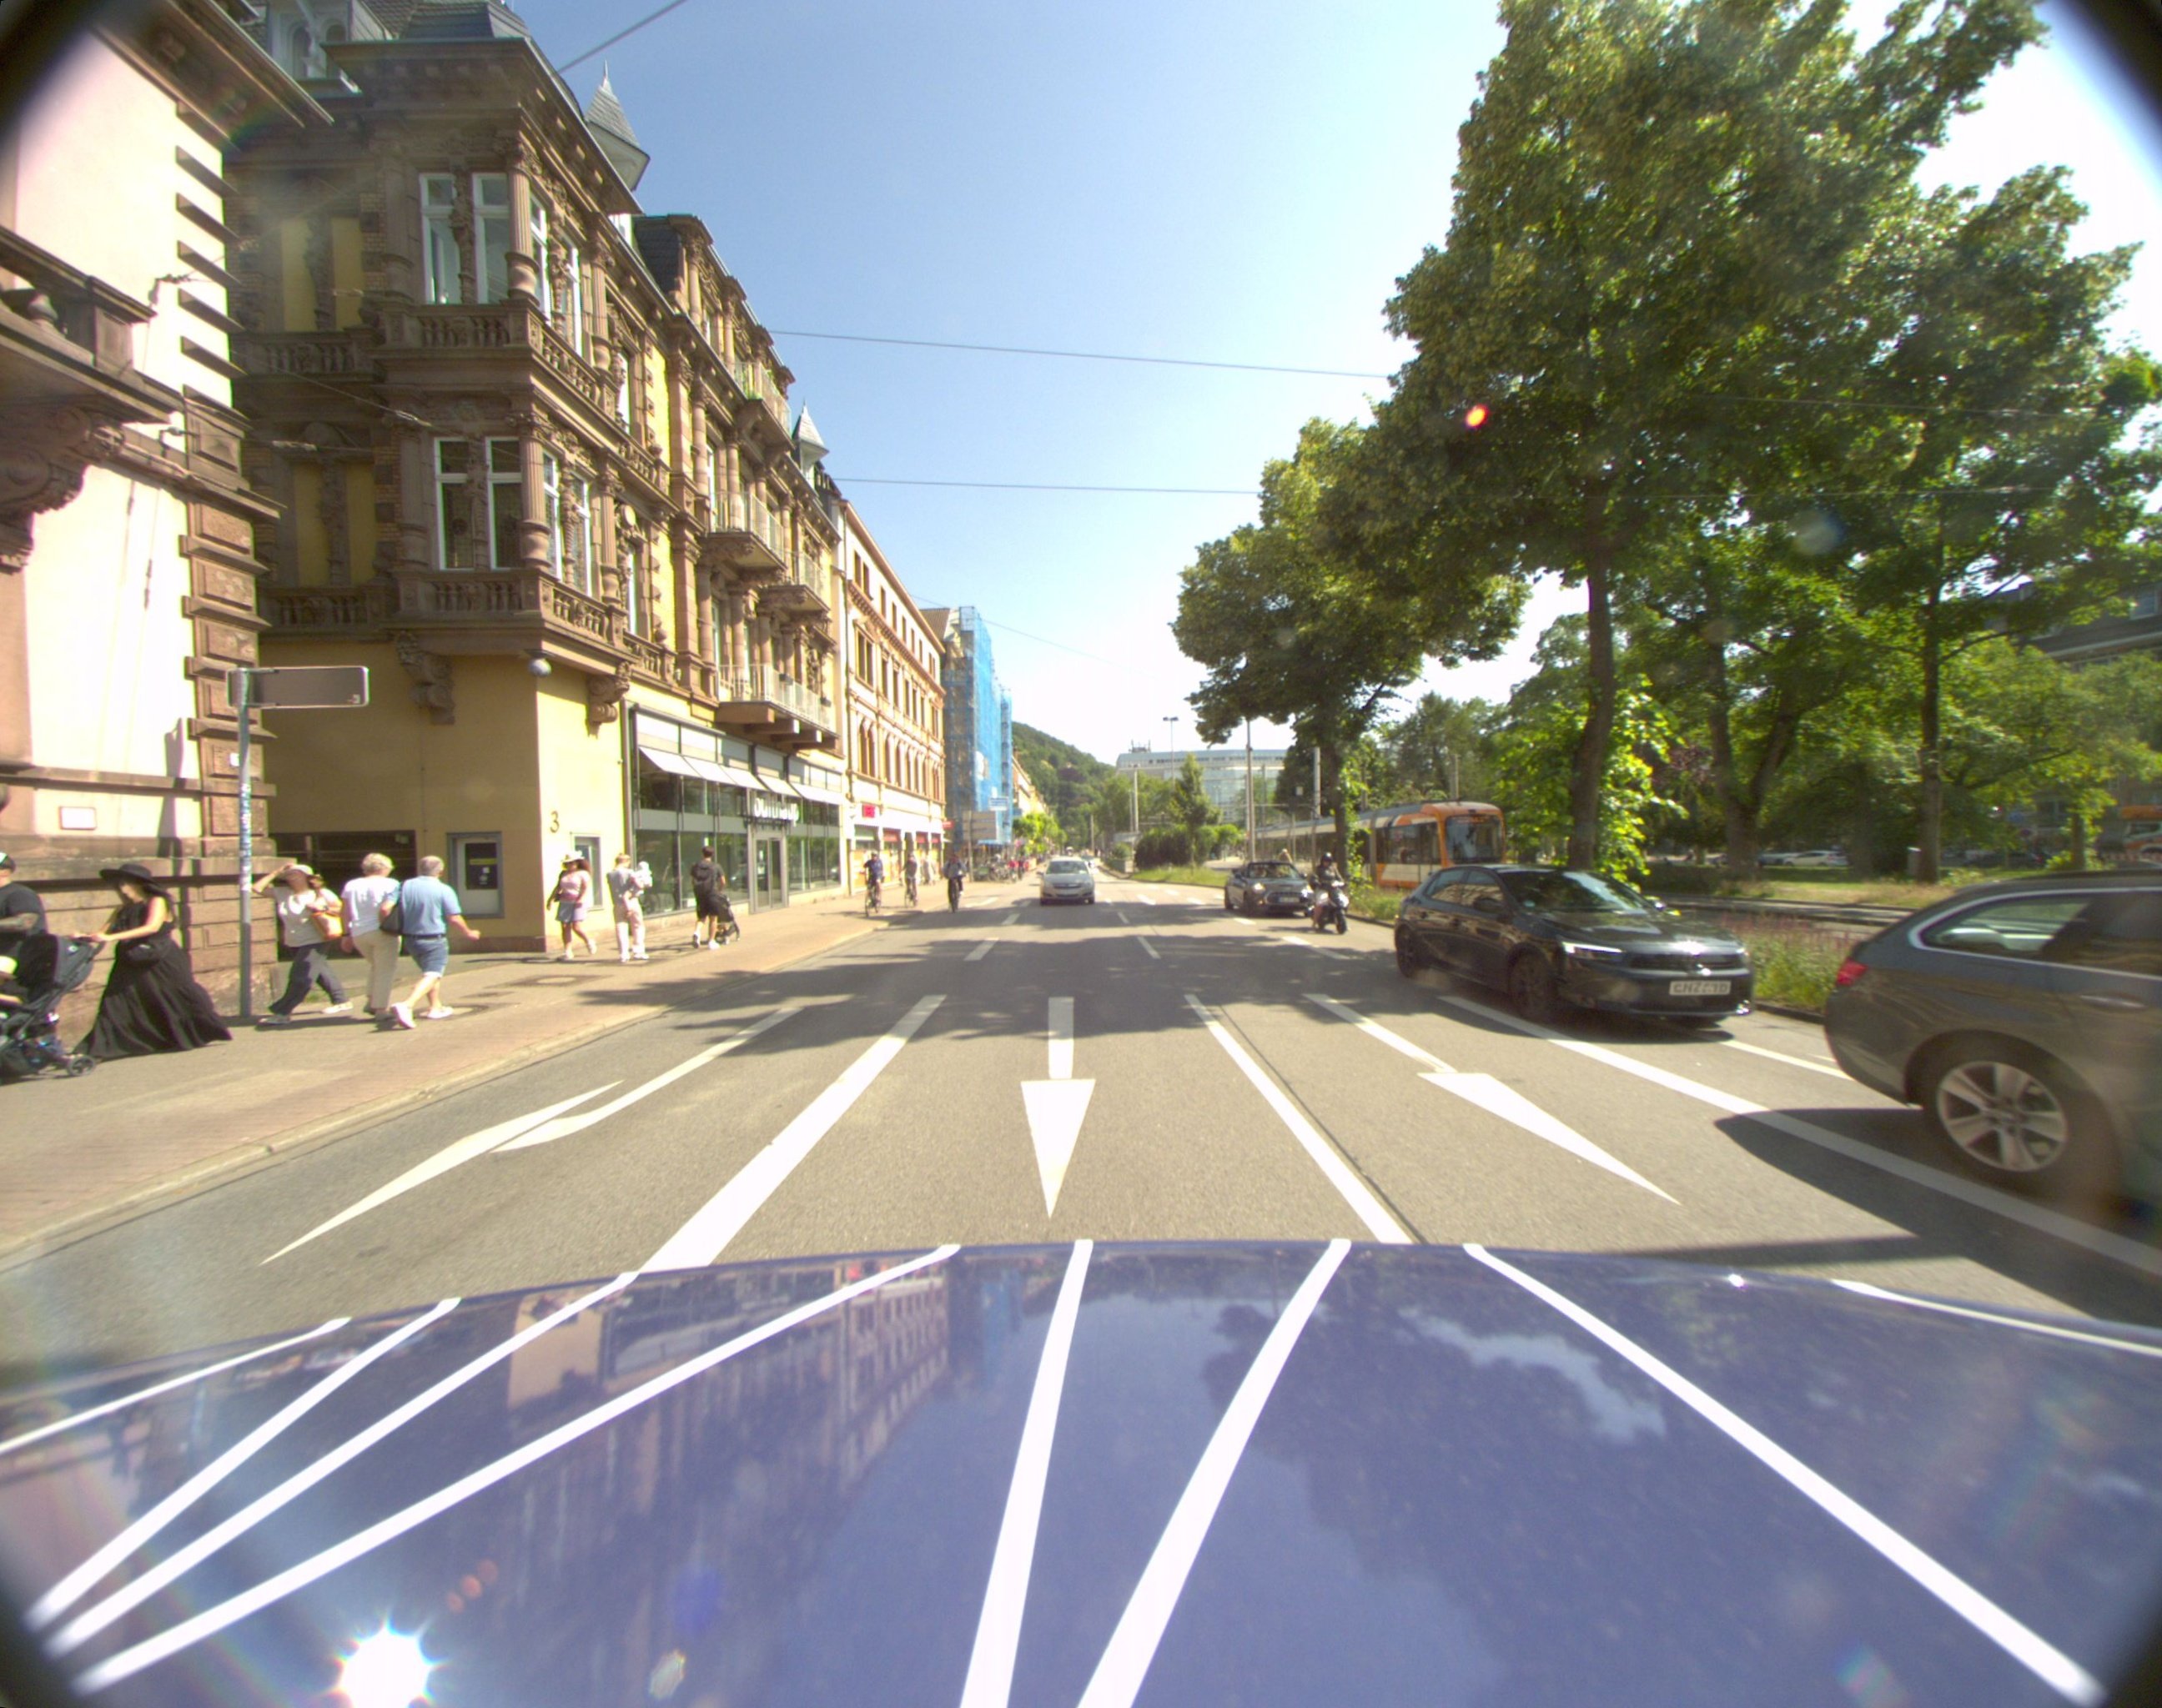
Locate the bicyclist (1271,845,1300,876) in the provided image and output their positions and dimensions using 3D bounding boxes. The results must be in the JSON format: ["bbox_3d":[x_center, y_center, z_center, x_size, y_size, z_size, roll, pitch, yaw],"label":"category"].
[{"bbox_3d":[9.225,0.277,34.339,0.912,1.385,1.232,-1,1,-2],"label":"bicyclist"}]

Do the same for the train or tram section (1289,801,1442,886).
[{"bbox_3d":[13.269,-0.462,37.104,2.767,3.384,12.410,-1,0,0],"label":"train or tram section"}]

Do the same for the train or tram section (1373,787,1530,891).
[{"bbox_3d":[13.291,-0.510,27.892,2.767,3.384,5.885,-1,1,-2],"label":"train or tram section"}]

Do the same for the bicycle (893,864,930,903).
[{"bbox_3d":[-5.284,0.895,23.779,0.643,1.076,2.496,-1,0,-2],"label":"bicycle"}]

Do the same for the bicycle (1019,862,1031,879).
[{"bbox_3d":[-3.749,1.097,50.834,0.643,1.076,2.496,-1,0,-2],"label":"bicycle"}]

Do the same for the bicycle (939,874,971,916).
[{"bbox_3d":[-3.732,1.192,22.680,0.643,1.076,2.495,-1,0,-2],"label":"bicycle"}]

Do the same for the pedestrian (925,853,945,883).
[{"bbox_3d":[-8.012,0.738,41.795,0.912,1.591,1.232,-1,1,-3],"label":"pedestrian"}]

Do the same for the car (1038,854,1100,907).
[{"bbox_3d":[-0.395,0.792,25.206,1.802,1.492,4.496,-3,0,-1],"label":"car"}]

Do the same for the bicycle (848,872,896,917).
[{"bbox_3d":[-5.695,1.085,20.846,0.643,1.076,2.496,-1,0,-2],"label":"bicycle"}]

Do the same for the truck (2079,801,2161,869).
[{"bbox_3d":[68.569,-1.192,44.665,3.632,4.238,11.804,-1,0,-7],"label":"truck"}]

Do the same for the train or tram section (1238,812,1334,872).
[{"bbox_3d":[13.017,-0.712,49.621,2.767,3.384,12.409,-1,0,-1],"label":"train or tram section"}]

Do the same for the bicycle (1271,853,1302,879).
[{"bbox_3d":[9.230,0.537,34.288,0.643,1.077,2.495,-2,1,-1],"label":"bicycle"}]

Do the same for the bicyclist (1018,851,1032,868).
[{"bbox_3d":[-3.755,0.354,50.969,0.912,1.077,1.232,-1,1,-2],"label":"bicyclist"}]

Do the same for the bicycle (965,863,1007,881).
[{"bbox_3d":[-5.825,1.102,46.721,2.494,1.077,0.644,-1,1,3],"label":"bicycle"}]

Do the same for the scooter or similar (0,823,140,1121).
[{"bbox_3d":[-7.642,0.799,5.312,0.694,2.002,1.095,-1,1,-2],"label":"scooter or similar"}]

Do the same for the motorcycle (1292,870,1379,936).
[{"bbox_3d":[5.075,0.944,15.340,0.903,1.156,2.352,-1,1,-2],"label":"motorcycle"}]

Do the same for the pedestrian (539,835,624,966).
[{"bbox_3d":[-7.957,0.719,12.137,0.814,2.002,0.815,1,1,-2],"label":"pedestrian"}]

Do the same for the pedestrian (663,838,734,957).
[{"bbox_3d":[-6.610,0.731,13.179,0.814,2.002,0.815,0,1,-2],"label":"pedestrian"}]

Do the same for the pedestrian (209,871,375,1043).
[{"bbox_3d":[-7.866,0.990,7.619,0.814,1.593,0.815,1,1,-2],"label":"pedestrian"}]

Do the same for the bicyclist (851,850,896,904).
[{"bbox_3d":[-5.695,0.599,20.910,0.912,1.428,1.232,-1,1,-2],"label":"bicyclist"}]

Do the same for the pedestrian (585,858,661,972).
[{"bbox_3d":[-7.036,0.912,11.699,0.707,1.685,0.628,-1,2,2],"label":"pedestrian"}]

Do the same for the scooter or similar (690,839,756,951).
[{"bbox_3d":[-6.662,0.725,14.185,0.694,2.002,1.095,-1,1,-2],"label":"scooter or similar"}]

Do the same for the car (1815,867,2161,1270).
[{"bbox_3d":[4.944,0.830,1.835,1.752,1.477,4.747,0,0,0],"label":"car"}]

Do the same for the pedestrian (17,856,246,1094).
[{"bbox_3d":[-7.602,0.916,6.136,0.814,1.783,0.815,1,1,-2],"label":"pedestrian"}]

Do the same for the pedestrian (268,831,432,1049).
[{"bbox_3d":[-7.103,0.797,7.430,0.814,2.002,0.815,1,1,-2],"label":"pedestrian"}]

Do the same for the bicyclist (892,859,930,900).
[{"bbox_3d":[-5.283,0.778,23.730,0.912,1.227,1.232,-1,1,-2],"label":"bicyclist"}]

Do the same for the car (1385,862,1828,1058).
[{"bbox_3d":[4.847,0.839,7.850,1.797,1.403,3.999,-1,1,0],"label":"car"}]

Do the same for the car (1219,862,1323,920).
[{"bbox_3d":[4.881,0.899,20.010,1.637,1.301,3.913,1,0,-2],"label":"car"}]

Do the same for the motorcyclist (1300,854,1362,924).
[{"bbox_3d":[5.040,0.691,15.379,0.903,1.351,0.993,-1,1,-2],"label":"motorcyclist"}]

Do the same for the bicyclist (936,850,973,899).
[{"bbox_3d":[-3.746,0.591,22.633,0.912,1.385,1.232,-1,1,-2],"label":"bicyclist"}]

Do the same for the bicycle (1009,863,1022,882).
[{"bbox_3d":[-3.939,1.086,45.986,0.643,1.076,2.496,-1,0,-2],"label":"bicycle"}]

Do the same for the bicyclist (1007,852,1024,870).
[{"bbox_3d":[-3.971,0.394,46.048,0.912,1.062,1.232,-1,1,-2],"label":"bicyclist"}]

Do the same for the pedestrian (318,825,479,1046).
[{"bbox_3d":[-6.533,0.741,7.324,0.814,2.002,0.815,1,1,-2],"label":"pedestrian"}]

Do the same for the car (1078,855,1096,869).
[{"bbox_3d":[0.668,0.905,87.513,1.999,1.547,4.496,-1,0,-2],"label":"car"}]
